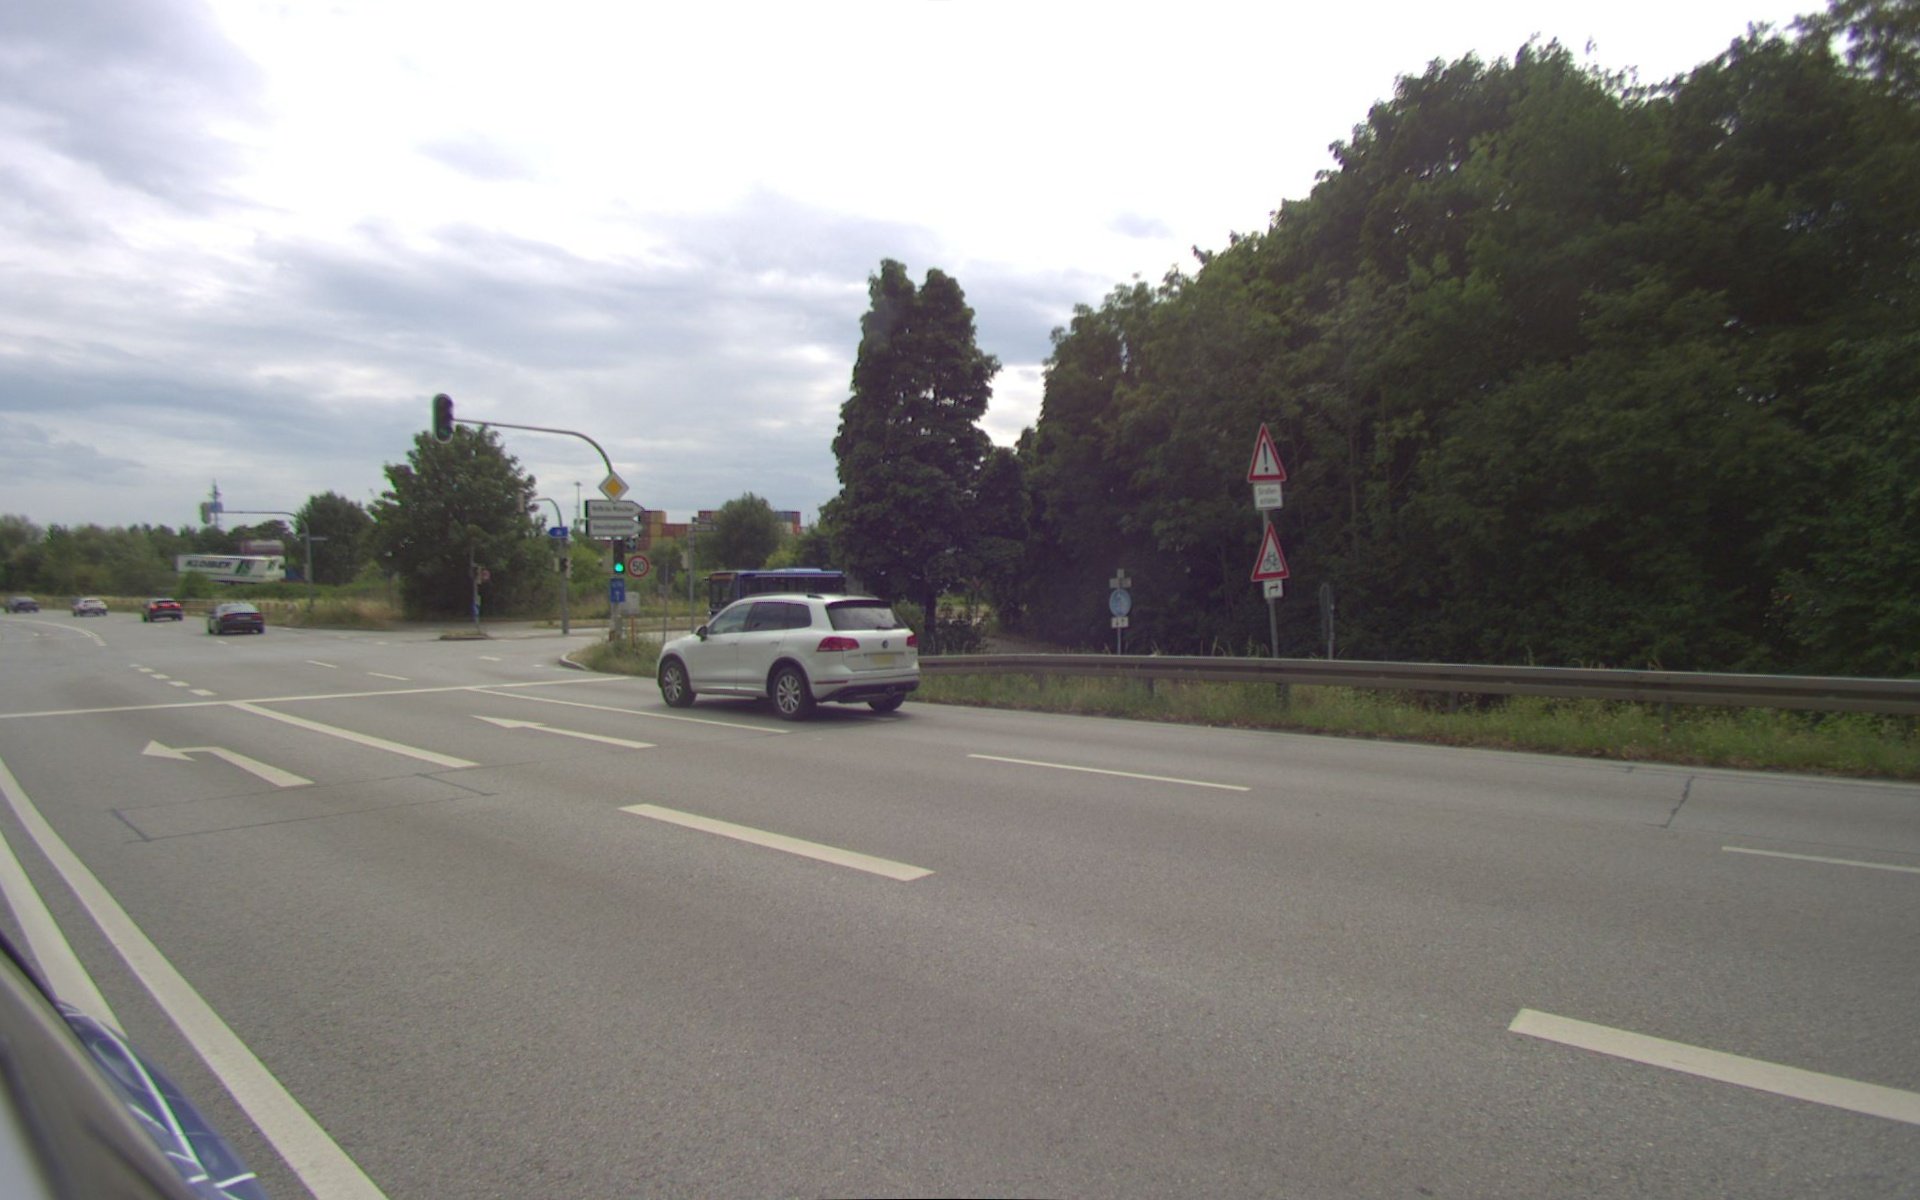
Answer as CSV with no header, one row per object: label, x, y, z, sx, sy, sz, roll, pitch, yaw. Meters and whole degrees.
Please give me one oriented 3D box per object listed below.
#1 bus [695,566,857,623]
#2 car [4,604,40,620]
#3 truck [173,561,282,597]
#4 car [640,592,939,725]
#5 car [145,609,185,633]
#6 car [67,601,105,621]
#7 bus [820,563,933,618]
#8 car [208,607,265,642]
bus,-10.512,-0.360,59.137,3.115,3.069,9.952,-1,1,36
car,-91.425,1.174,98.630,3.991,1.395,1.725,0,3,35
truck,-103.076,-2.932,142.469,14.044,4.358,3.355,3,1,8
car,-2.646,0.768,14.879,4.737,1.656,1.837,-2,-1,43
car,-53.824,1.404,68.503,1.720,1.395,4.003,-4,3,-44
car,-73.819,0.904,85.457,3.997,1.497,1.723,0,3,40
bus,-5.364,-0.663,66.350,3.115,3.372,7.731,-1,1,36
car,-33.704,1.089,47.114,1.718,1.497,4.206,-1,1,-41
